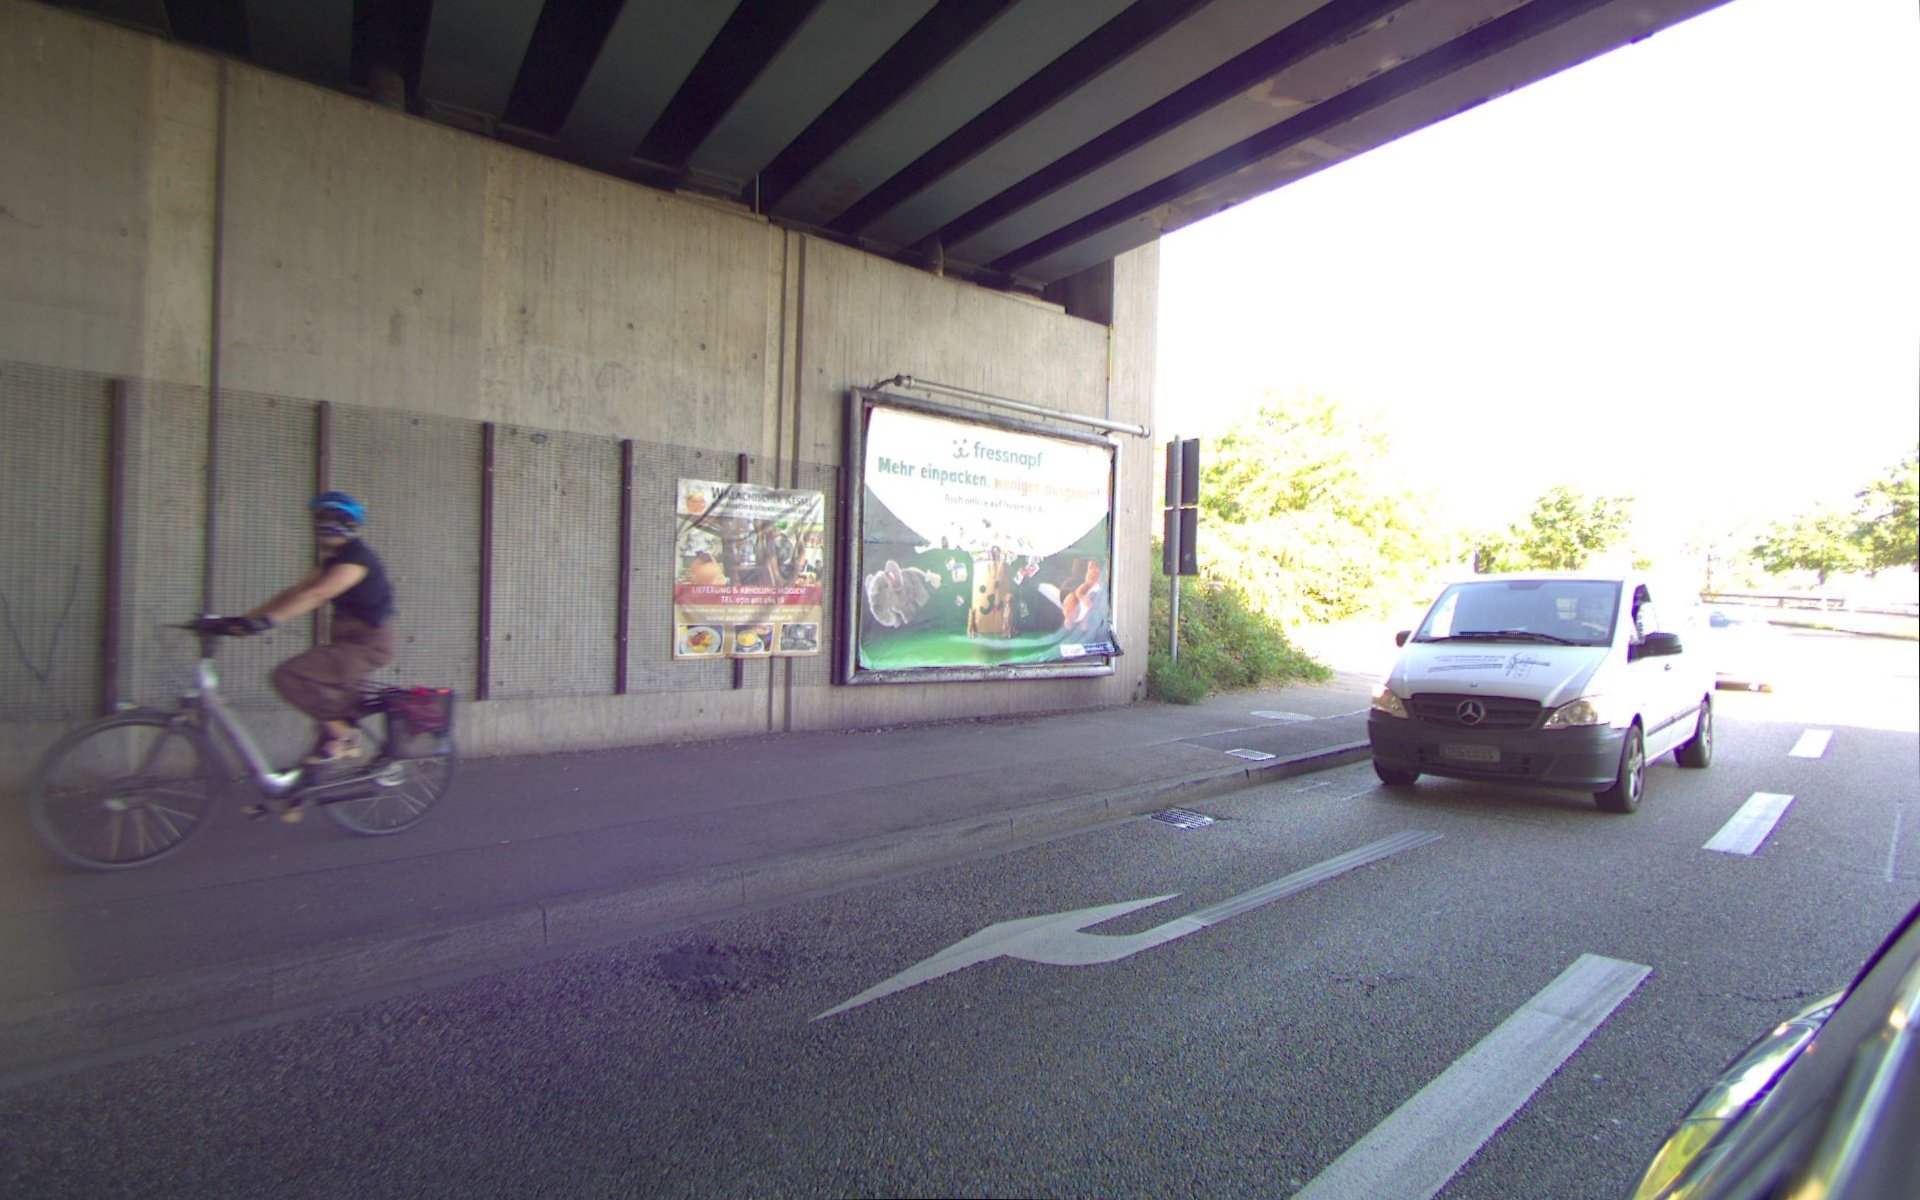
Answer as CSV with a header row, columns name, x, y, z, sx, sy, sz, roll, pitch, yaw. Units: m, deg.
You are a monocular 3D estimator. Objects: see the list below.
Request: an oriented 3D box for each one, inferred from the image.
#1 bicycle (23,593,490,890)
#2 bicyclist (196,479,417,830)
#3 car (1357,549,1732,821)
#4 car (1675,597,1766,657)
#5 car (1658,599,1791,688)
name,x,y,z,sx,sy,sz,roll,pitch,yaw
bicycle,-3.318,0.585,4.915,1.747,1.182,0.652,1,1,-40
bicyclist,-3.221,0.229,4.989,0.832,1.553,0.654,0,2,-40
car,5.565,0.573,9.308,1.898,1.859,4.758,0,0,44
car,22.195,0.735,29.674,1.766,1.621,4.058,0,0,32
car,15.683,0.790,20.714,1.990,1.570,4.359,0,1,39
